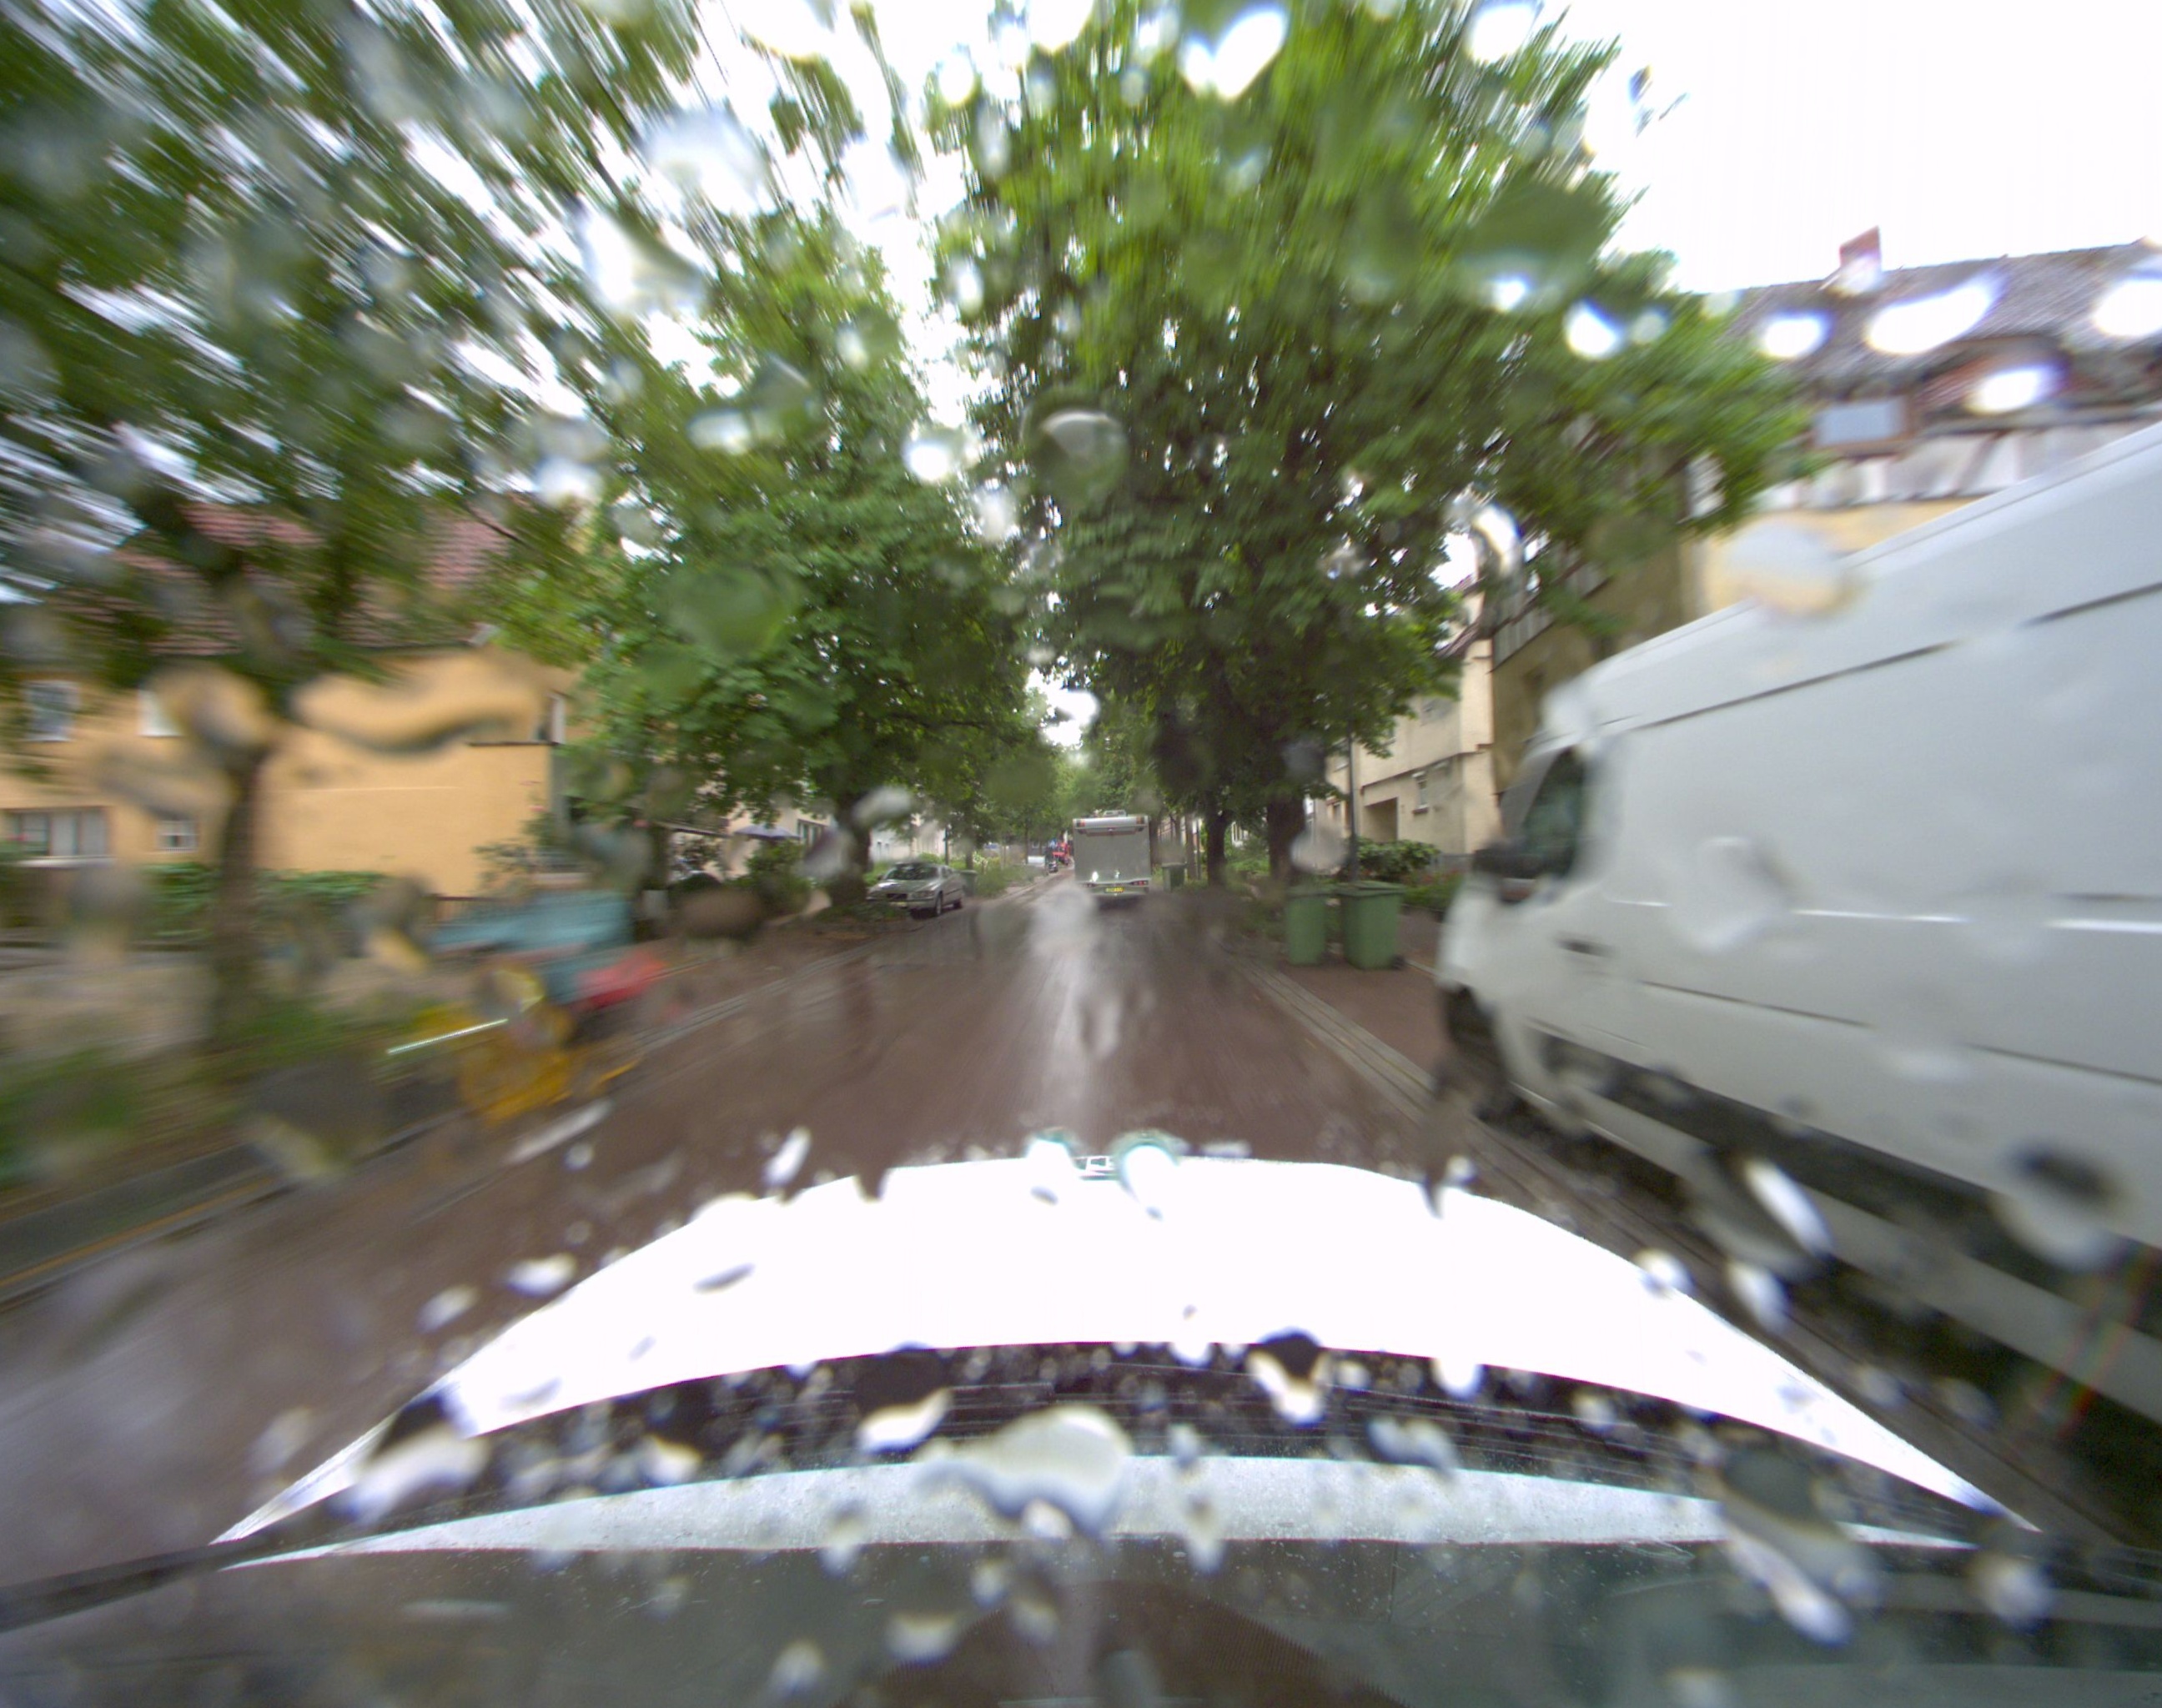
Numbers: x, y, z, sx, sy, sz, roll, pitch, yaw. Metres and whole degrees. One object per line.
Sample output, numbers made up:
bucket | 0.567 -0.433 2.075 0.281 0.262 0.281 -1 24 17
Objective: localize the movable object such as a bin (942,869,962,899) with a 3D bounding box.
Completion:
movable object such as a bin | -4.699 1.080 29.677 0.592 1.062 0.546 0 0 5

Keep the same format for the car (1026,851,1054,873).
car | -2.982 0.560 59.723 1.640 1.533 3.869 0 0 4

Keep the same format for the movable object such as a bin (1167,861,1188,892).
movable object such as a bin | 3.499 0.803 29.526 0.686 1.082 0.540 -1 -1 -2

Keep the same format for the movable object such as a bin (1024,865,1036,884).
movable object such as a bin | -3.027 1.201 48.238 0.640 1.111 0.536 -2 0 3

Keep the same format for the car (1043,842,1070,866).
car | -2.686 -0.042 89.470 2.293 2.483 5.792 -1 1 5

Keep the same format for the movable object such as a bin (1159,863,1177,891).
movable object such as a bin | 3.345 0.882 31.377 0.629 1.082 0.471 -1 -1 -2

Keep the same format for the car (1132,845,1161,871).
car | 4.748 0.264 59.794 1.907 1.792 4.490 -1 0 2

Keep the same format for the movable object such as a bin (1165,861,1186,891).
movable object such as a bin | 3.481 0.817 30.085 0.686 1.082 0.540 -1 -1 -2

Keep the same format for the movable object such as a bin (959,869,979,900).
movable object such as a bin | -4.047 1.107 29.519 0.592 1.062 0.546 1 0 5

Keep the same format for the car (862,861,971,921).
car | -4.301 0.924 22.018 1.765 1.389 4.549 1 0 3

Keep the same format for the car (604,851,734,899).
car | -14.094 0.715 27.969 3.558 1.477 1.637 2 0 0

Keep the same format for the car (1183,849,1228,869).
car | 9.945 0.426 65.206 3.355 1.430 1.630 -3 0 -2

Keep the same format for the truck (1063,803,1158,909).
truck | 0.952 0.069 26.430 2.684 2.986 6.239 -1 0 2

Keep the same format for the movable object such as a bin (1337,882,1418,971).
movable object such as a bin | 3.835 0.916 10.587 0.745 1.075 0.879 -1 0 1

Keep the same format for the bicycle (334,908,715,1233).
bicycle | -2.747 0.960 4.357 0.625 1.209 1.982 -1 0 2

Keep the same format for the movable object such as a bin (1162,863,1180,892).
movable object such as a bin | 3.404 0.882 30.776 0.608 1.082 0.512 -1 -1 -2

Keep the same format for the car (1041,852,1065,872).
car | -2.329 0.654 68.954 1.765 1.553 4.002 1 0 2

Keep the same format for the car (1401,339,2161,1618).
car | 3.183 0.240 2.836 2.133 2.460 5.437 -1 0 2

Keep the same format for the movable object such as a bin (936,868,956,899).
movable object such as a bin | -4.804 1.045 29.065 0.592 1.062 0.546 0 0 5

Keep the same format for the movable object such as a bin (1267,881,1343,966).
movable object such as a bin | 3.035 0.929 11.102 0.794 1.075 0.879 -1 0 1

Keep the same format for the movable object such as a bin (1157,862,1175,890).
movable object such as a bin | 3.324 0.873 31.953 0.642 1.082 0.540 -1 -1 -2

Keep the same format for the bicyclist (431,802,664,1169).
bicyclist | -2.759 0.627 4.304 0.625 1.731 0.880 -1 -1 1

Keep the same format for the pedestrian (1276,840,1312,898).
pedestrian | 6.248 0.434 23.865 0.947 1.652 0.797 -2 -1 15

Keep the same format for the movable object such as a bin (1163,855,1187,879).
movable object such as a bin | 5.309 0.737 46.062 1.219 1.315 1.135 -2 -1 4
